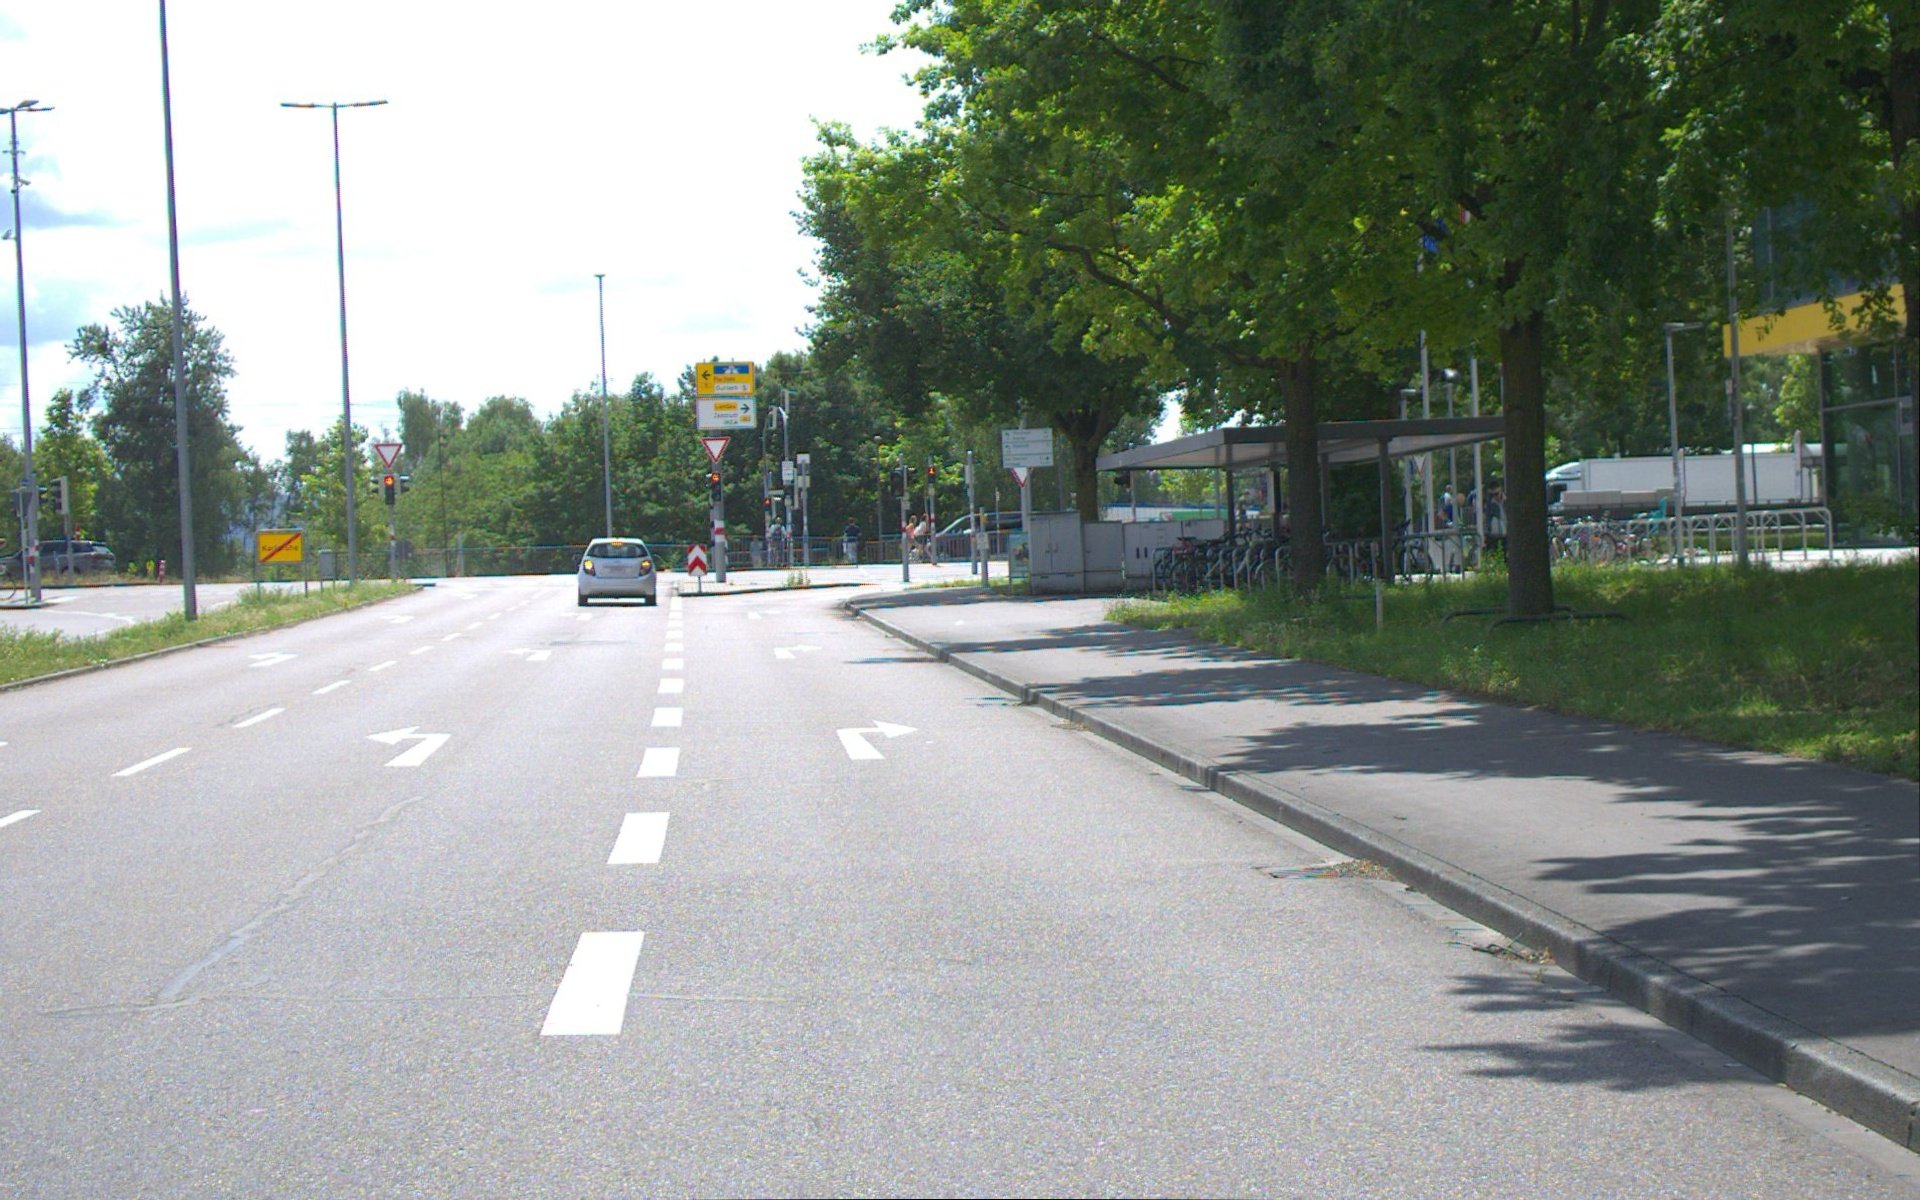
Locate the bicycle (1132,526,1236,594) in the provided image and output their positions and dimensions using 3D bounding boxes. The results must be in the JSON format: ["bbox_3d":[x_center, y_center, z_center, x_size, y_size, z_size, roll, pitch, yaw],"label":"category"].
[{"bbox_3d":[4.211,-0.758,64.590,1.861,1.183,0.424,-3,1,-9],"label":"bicycle"}]

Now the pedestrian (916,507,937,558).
[{"bbox_3d":[-1.184,-2.367,120.288,0.676,1.742,0.637,-2,3,-2],"label":"pedestrian"}]

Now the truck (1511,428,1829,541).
[{"bbox_3d":[28.326,-4.618,137.374,11.956,4.090,2.953,-2,1,-4],"label":"truck"}]

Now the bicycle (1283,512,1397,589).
[{"bbox_3d":[6.610,-0.866,59.864,1.861,1.227,0.424,-3,1,-9],"label":"bicycle"}]

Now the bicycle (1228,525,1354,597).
[{"bbox_3d":[5.198,-0.611,54.034,1.861,0.991,0.424,-4,1,-9],"label":"bicycle"}]

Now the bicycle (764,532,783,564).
[{"bbox_3d":[-6.600,-1.834,121.423,0.619,1.083,1.722,-2,1,-3],"label":"bicycle"}]

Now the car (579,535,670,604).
[{"bbox_3d":[-7.485,-0.713,76.990,1.894,1.464,3.834,0,2,-4],"label":"car"}]

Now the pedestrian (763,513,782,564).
[{"bbox_3d":[-6.608,-2.184,121.381,0.611,1.763,0.672,-2,1,-3],"label":"pedestrian"}]

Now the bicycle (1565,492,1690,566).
[{"bbox_3d":[12.348,-1.320,63.636,2.140,1.225,0.721,-3,1,6],"label":"bicycle"}]

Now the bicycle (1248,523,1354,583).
[{"bbox_3d":[6.306,-0.871,63.643,1.861,1.030,0.424,-3,1,-3],"label":"bicycle"}]

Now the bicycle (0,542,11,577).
[{"bbox_3d":[-28.147,-1.160,98.010,2.016,0.996,0.622,0,1,-4],"label":"bicycle"}]

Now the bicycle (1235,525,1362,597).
[{"bbox_3d":[5.268,-0.607,53.548,1.861,0.991,0.424,-4,1,-9],"label":"bicycle"}]

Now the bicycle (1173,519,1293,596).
[{"bbox_3d":[4.562,-0.718,57.435,1.896,1.166,0.424,-3,1,-3],"label":"bicycle"}]

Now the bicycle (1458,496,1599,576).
[{"bbox_3d":[8.729,-0.976,52.841,2.012,1.104,0.576,-3,1,34],"label":"bicycle"}]

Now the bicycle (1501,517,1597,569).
[{"bbox_3d":[12.068,-1.161,70.482,1.861,0.991,0.465,-2,1,-8],"label":"bicycle"}]

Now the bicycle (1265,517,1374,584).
[{"bbox_3d":[6.454,-0.886,61.734,1.861,1.112,0.424,-3,1,-9],"label":"bicycle"}]

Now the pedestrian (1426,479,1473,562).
[{"bbox_3d":[11.471,-1.853,80.513,1.008,1.895,0.973,-2,-1,10],"label":"pedestrian"}]

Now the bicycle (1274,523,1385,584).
[{"bbox_3d":[6.561,-0.823,61.091,1.861,0.991,0.424,-3,0,-9],"label":"bicycle"}]

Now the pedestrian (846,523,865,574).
[{"bbox_3d":[-3.552,-1.752,116.839,0.523,1.715,0.730,-3,1,-1],"label":"pedestrian"}]

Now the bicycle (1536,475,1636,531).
[{"bbox_3d":[12.458,-1.929,68.476,1.861,0.991,0.424,-4,0,-9],"label":"bicycle"}]

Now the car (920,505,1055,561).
[{"bbox_3d":[0.983,-2.444,125.130,4.651,1.814,2.000,-3,1,-5],"label":"car"}]

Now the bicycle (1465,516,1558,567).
[{"bbox_3d":[11.738,-1.256,73.143,1.861,0.991,0.424,-3,1,-3],"label":"bicycle"}]

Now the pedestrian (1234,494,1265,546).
[{"bbox_3d":[10.285,-2.832,122.002,0.926,1.801,0.736,-2,1,-5],"label":"pedestrian"}]

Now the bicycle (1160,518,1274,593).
[{"bbox_3d":[4.461,-0.771,59.661,1.861,1.183,0.424,-3,1,-9],"label":"bicycle"}]

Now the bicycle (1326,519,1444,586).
[{"bbox_3d":[7.144,-0.804,57.795,1.861,0.991,0.424,-4,0,-9],"label":"bicycle"}]

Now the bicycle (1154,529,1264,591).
[{"bbox_3d":[4.428,-0.712,61.105,1.861,0.991,0.424,-3,1,-9],"label":"bicycle"}]
